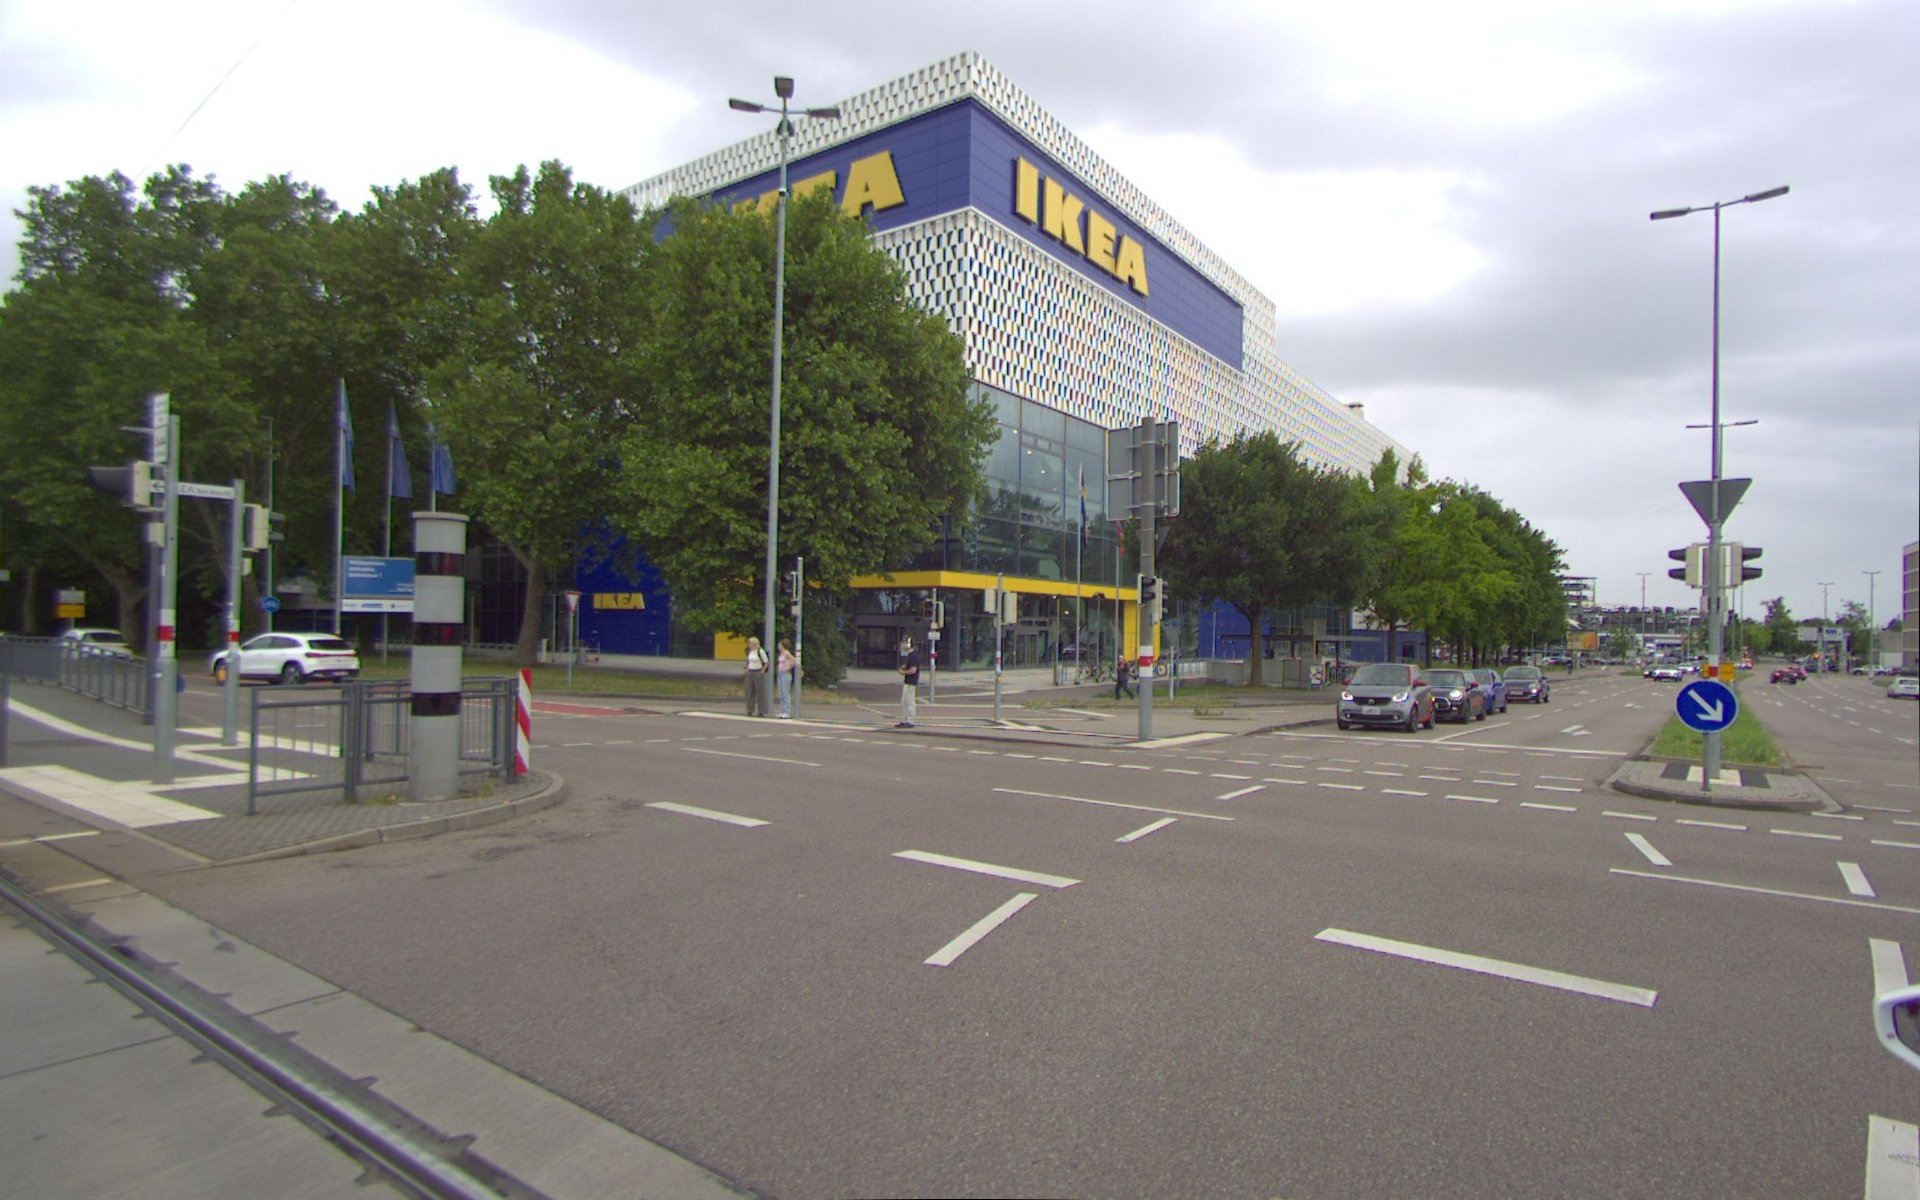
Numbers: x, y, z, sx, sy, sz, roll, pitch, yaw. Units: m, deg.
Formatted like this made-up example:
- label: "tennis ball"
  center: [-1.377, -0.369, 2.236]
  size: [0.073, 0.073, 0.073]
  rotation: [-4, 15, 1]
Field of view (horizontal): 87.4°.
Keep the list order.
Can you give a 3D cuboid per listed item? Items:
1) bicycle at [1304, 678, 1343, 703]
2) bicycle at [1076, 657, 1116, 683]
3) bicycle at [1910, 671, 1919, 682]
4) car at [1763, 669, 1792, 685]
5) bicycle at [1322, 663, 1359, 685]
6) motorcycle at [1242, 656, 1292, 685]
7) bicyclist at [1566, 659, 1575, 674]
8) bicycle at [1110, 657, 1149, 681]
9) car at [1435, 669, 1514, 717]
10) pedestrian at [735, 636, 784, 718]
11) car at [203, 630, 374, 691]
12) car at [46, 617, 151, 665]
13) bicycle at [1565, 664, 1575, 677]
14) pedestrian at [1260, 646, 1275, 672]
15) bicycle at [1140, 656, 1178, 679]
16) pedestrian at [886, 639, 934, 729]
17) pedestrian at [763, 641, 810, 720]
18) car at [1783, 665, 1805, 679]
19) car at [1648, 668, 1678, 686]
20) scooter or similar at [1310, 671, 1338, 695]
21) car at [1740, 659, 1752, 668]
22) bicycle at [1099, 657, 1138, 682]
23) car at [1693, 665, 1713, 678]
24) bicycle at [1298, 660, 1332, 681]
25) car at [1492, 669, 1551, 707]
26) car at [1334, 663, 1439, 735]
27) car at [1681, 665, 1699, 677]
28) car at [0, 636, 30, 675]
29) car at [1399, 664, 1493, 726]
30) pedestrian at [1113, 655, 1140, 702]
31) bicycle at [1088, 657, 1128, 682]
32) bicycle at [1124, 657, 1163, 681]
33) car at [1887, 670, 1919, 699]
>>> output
- label: "bicycle"
  center: [19.901, 4.957, 55.067]
  size: [1.870, 1.172, 0.591]
  rotation: [3, -1, 39]
- label: "bicycle"
  center: [7.001, 3.585, 51.691]
  size: [1.990, 1.172, 0.591]
  rotation: [2, -1, 37]
- label: "bicycle"
  center: [119.380, 9.590, 124.947]
  size: [0.688, 1.312, 2.012]
  rotation: [2, -1, 3]
- label: "car"
  center: [79.690, 7.488, 97.955]
  size: [1.962, 1.447, 4.226]
  rotation: [1, -3, 37]
- label: "bicycle"
  center: [22.437, 4.357, 59.285]
  size: [0.588, 1.172, 2.001]
  rotation: [3, -1, -37]
- label: "motorcycle"
  center: [16.640, 3.785, 54.416]
  size: [2.453, 1.373, 0.799]
  rotation: [3, -1, 26]
- label: "bicyclist"
  center: [64.899, 7.060, 106.735]
  size: [0.632, 1.598, 0.996]
  rotation: [2, -1, 37]
- label: "bicycle"
  center: [9.176, 3.724, 54.340]
  size: [1.990, 1.172, 0.591]
  rotation: [2, -1, 37]
- label: "car"
  center: [16.768, 2.977, 32.634]
  size: [1.582, 1.463, 4.129]
  rotation: [-2, -5, 37]
- label: "pedestrian"
  center: [-4.581, 1.759, 22.923]
  size: [0.666, 1.820, 0.762]
  rotation: [0, -4, 42]
- label: "car"
  center: [-20.197, 1.788, 30.262]
  size: [4.322, 1.606, 1.895]
  rotation: [1, -3, 16]
- label: "car"
  center: [-32.659, 1.549, 38.049]
  size: [4.071, 1.606, 1.794]
  rotation: [1, -4, 32]
- label: "bicycle"
  center: [64.855, 7.470, 106.728]
  size: [0.634, 1.267, 2.048]
  rotation: [2, -1, 37]
- label: "pedestrian"
  center: [21.198, 4.084, 69.261]
  size: [0.668, 1.769, 0.805]
  rotation: [1, -1, 38]
- label: "bicycle"
  center: [11.337, 3.821, 57.299]
  size: [1.987, 1.172, 0.592]
  rotation: [2, -1, 32]
- label: "pedestrian"
  center: [-1.012, 1.720, 20.508]
  size: [0.654, 1.787, 0.685]
  rotation: [-3, -7, 35]
- label: "pedestrian"
  center: [-3.913, 1.803, 22.668]
  size: [0.666, 1.734, 0.762]
  rotation: [0, -3, 42]
- label: "car"
  center: [97.986, 8.424, 117.977]
  size: [1.812, 1.534, 3.984]
  rotation: [3, -1, 39]
- label: "car"
  center: [63.447, 6.925, 90.642]
  size: [1.908, 1.538, 4.165]
  rotation: [-3, -5, 38]
- label: "scooter or similar"
  center: [18.847, 4.309, 51.991]
  size: [1.329, 1.163, 0.422]
  rotation: [4, -1, -21]
- label: "car"
  center: [140.436, 11.288, 179.399]
  size: [1.581, 1.473, 3.309]
  rotation: [0, 0, 39]
- label: "bicycle"
  center: [8.422, 3.697, 53.371]
  size: [1.990, 1.172, 0.591]
  rotation: [2, -1, 37]
- label: "car"
  center: [87.723, 8.392, 118.576]
  size: [1.906, 1.505, 4.424]
  rotation: [-2, -4, 37]
- label: "bicycle"
  center: [21.230, 4.209, 60.095]
  size: [1.787, 1.096, 0.591]
  rotation: [3, -1, 39]
- label: "car"
  center: [23.369, 3.618, 41.728]
  size: [1.582, 1.517, 4.023]
  rotation: [-2, -5, 37]
- label: "car"
  center: [10.031, 2.247, 23.514]
  size: [1.582, 1.522, 3.199]
  rotation: [-2, -4, 36]
- label: "car"
  center: [95.505, 9.296, 131.406]
  size: [1.843, 1.473, 4.152]
  rotation: [-2, -4, 38]
- label: "car"
  center: [-42.149, 2.389, 43.780]
  size: [3.367, 1.536, 1.629]
  rotation: [1, -4, 36]
- label: "car"
  center: [13.420, 2.555, 27.612]
  size: [1.640, 1.522, 4.052]
  rotation: [0, -3, 36]
- label: "pedestrian"
  center: [6.104, 2.867, 36.810]
  size: [0.624, 1.663, 0.807]
  rotation: [0, -4, 35]
- label: "bicycle"
  center: [7.748, 3.634, 52.502]
  size: [1.990, 1.172, 0.591]
  rotation: [2, -1, 37]
- label: "bicycle"
  center: [10.146, 3.802, 55.477]
  size: [1.984, 1.172, 0.593]
  rotation: [2, -1, 25]
- label: "car"
  center: [68.421, 6.096, 72.498]
  size: [1.970, 1.775, 4.160]
  rotation: [0, 0, 40]
